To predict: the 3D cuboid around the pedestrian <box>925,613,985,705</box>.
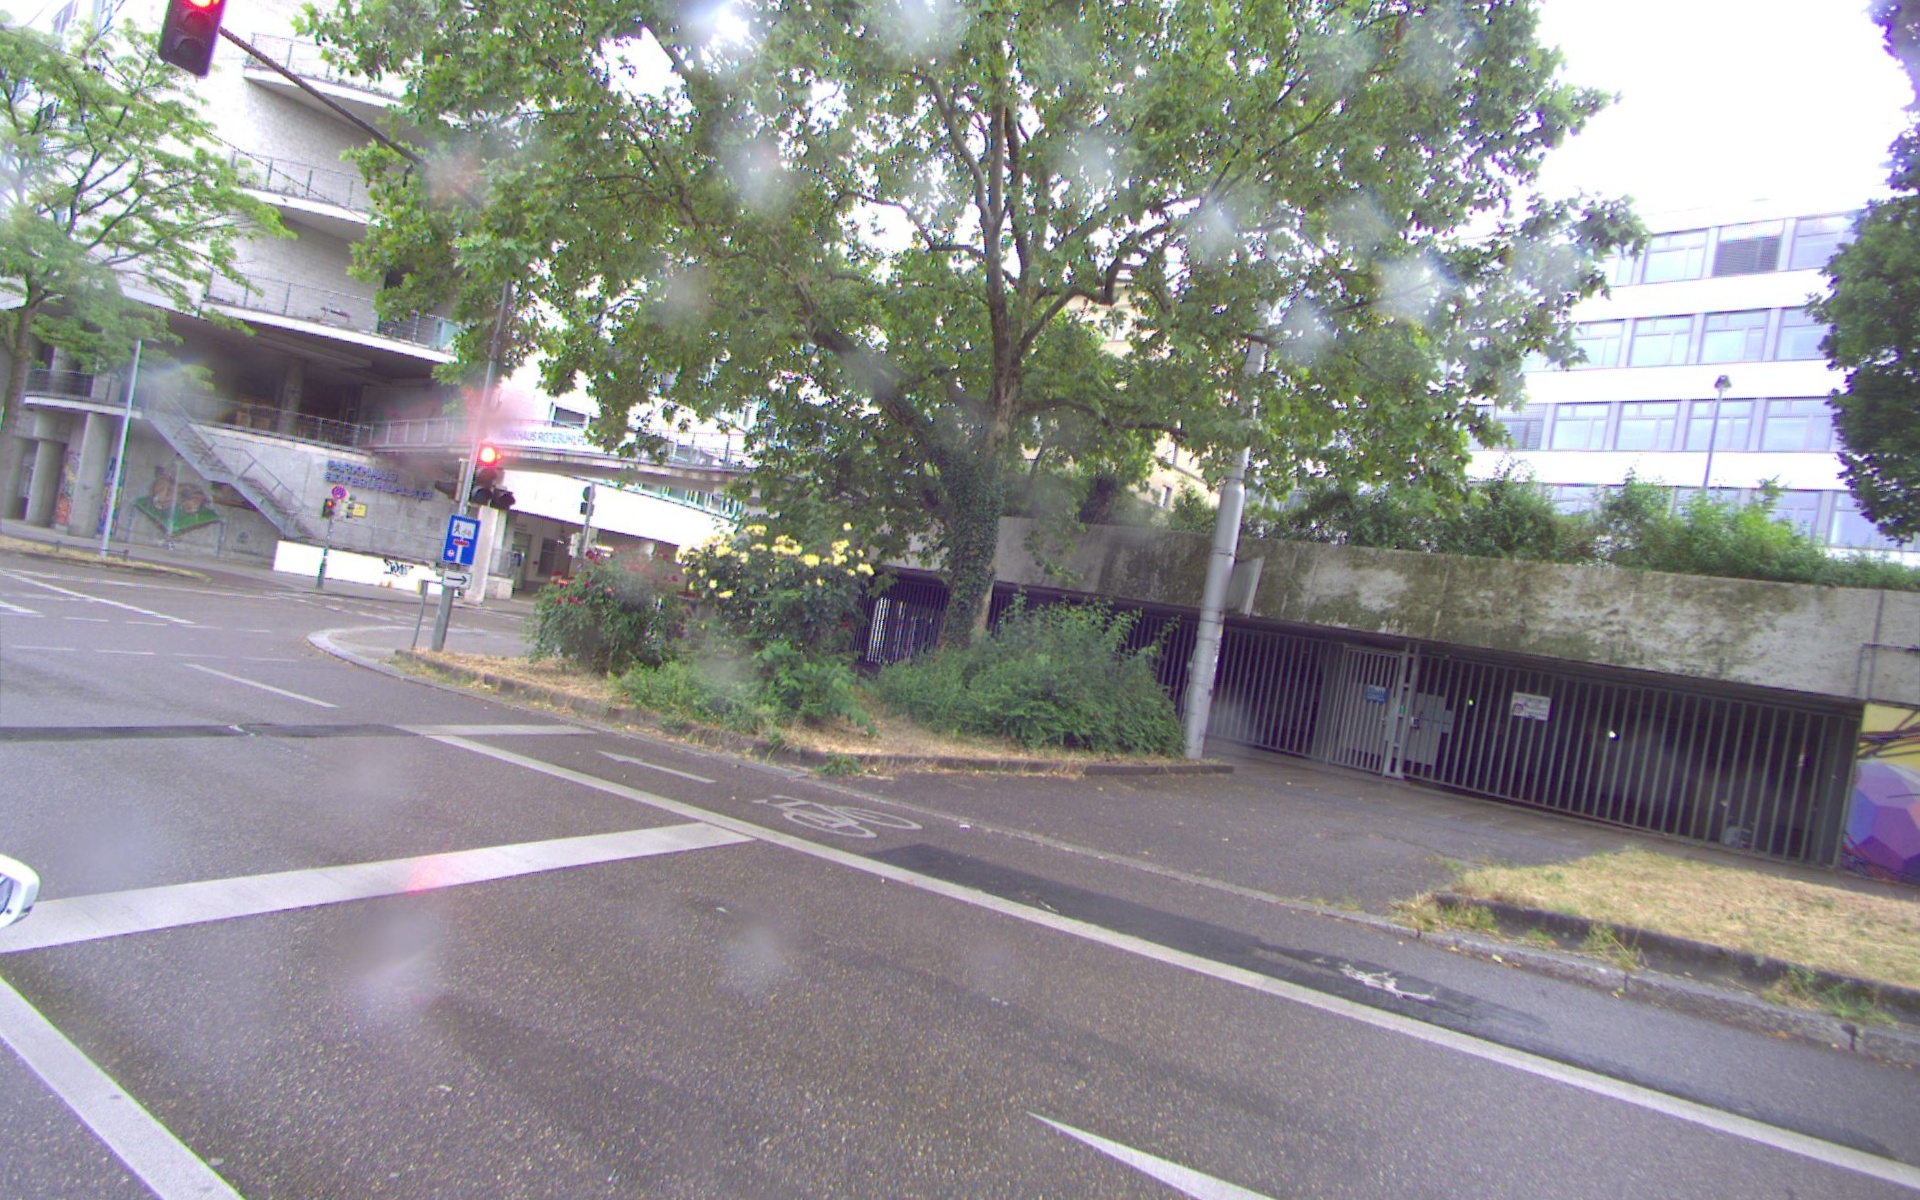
[{"bbox_3d":[-0.107,1.324,22.560,0.745,1.932,0.847,8,-1,31],"label":"pedestrian"}]
